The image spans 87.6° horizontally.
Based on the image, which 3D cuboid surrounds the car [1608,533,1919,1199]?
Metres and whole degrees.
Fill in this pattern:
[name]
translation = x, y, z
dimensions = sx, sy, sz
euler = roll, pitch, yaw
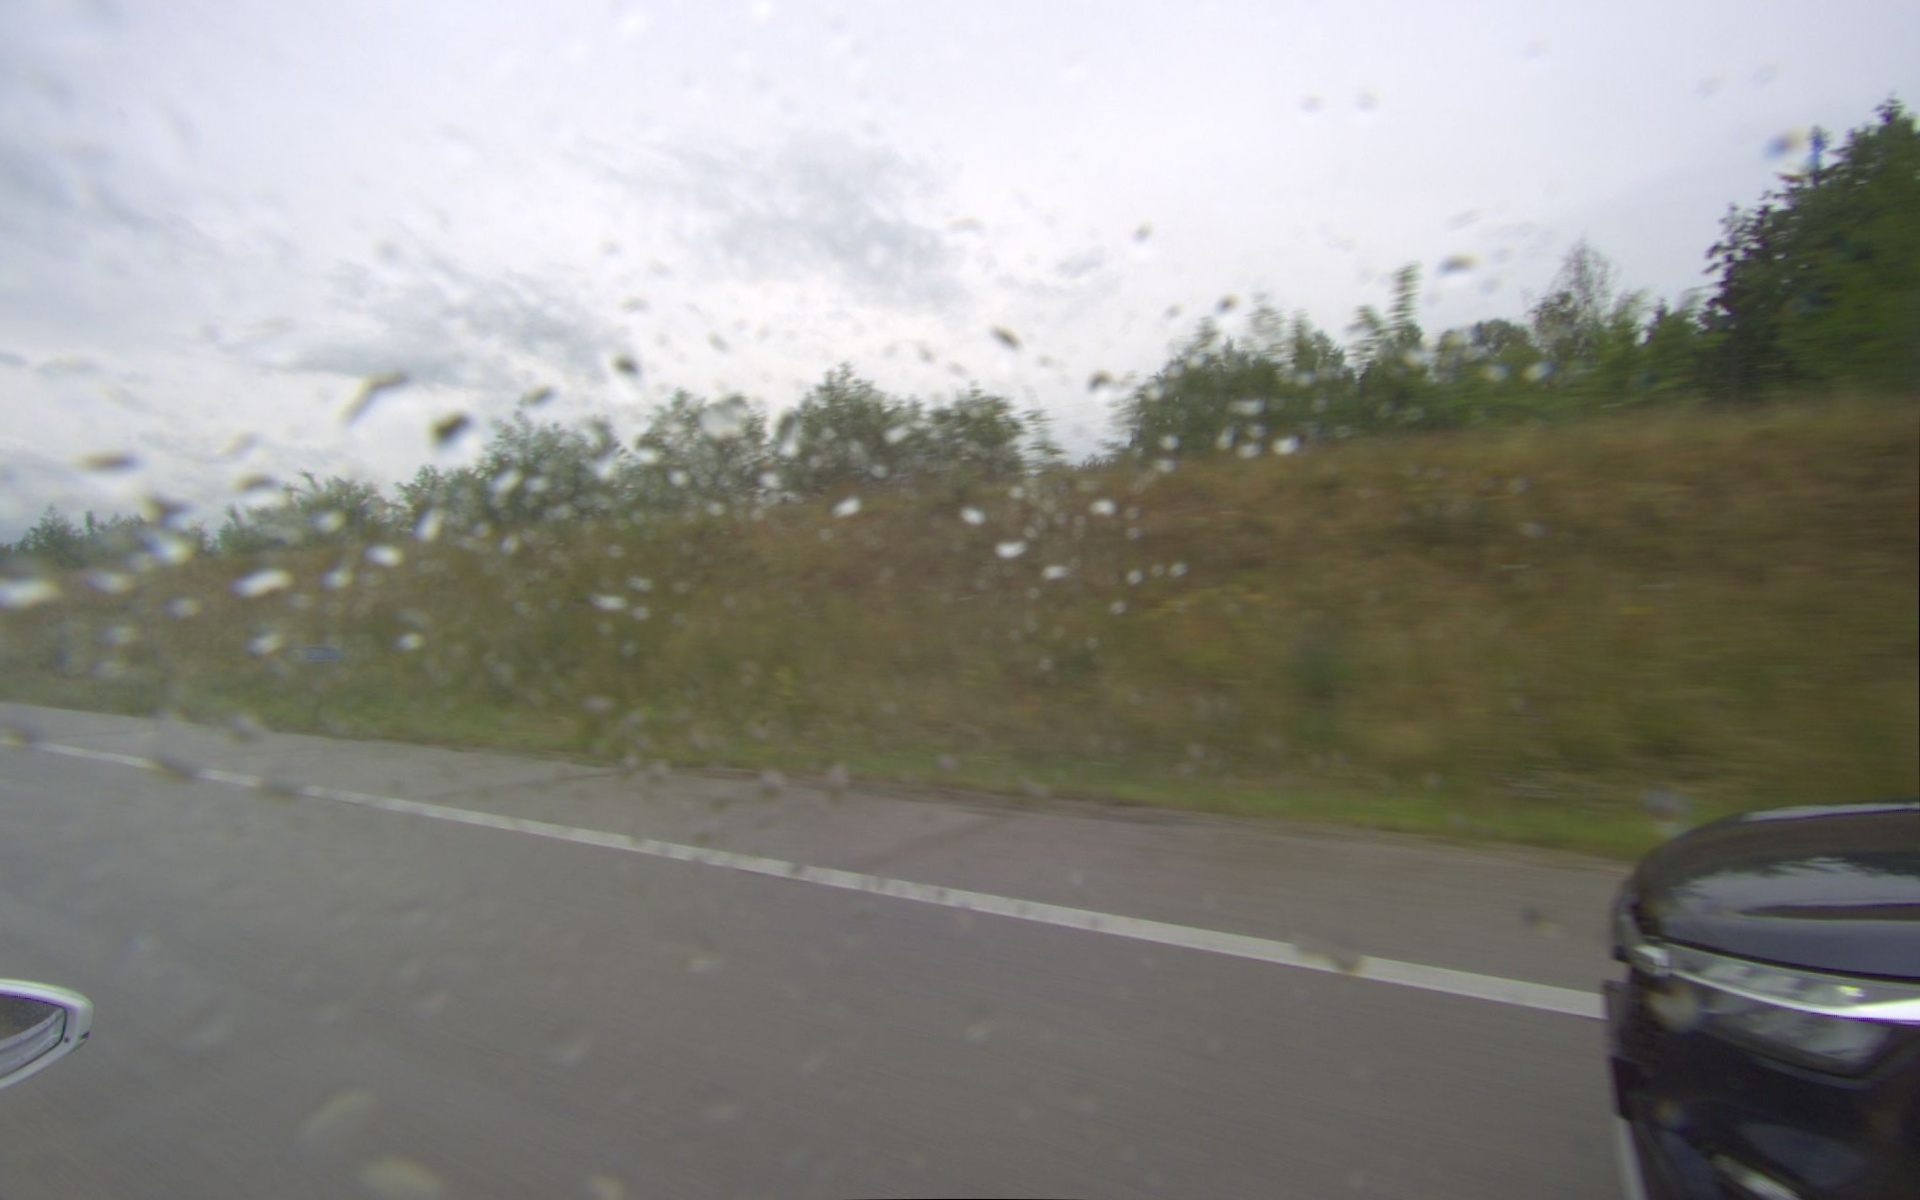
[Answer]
[car]
translation = 3.063, 0.725, 1.392
dimensions = 3.579, 1.596, 1.891
euler = 0, -2, 32
